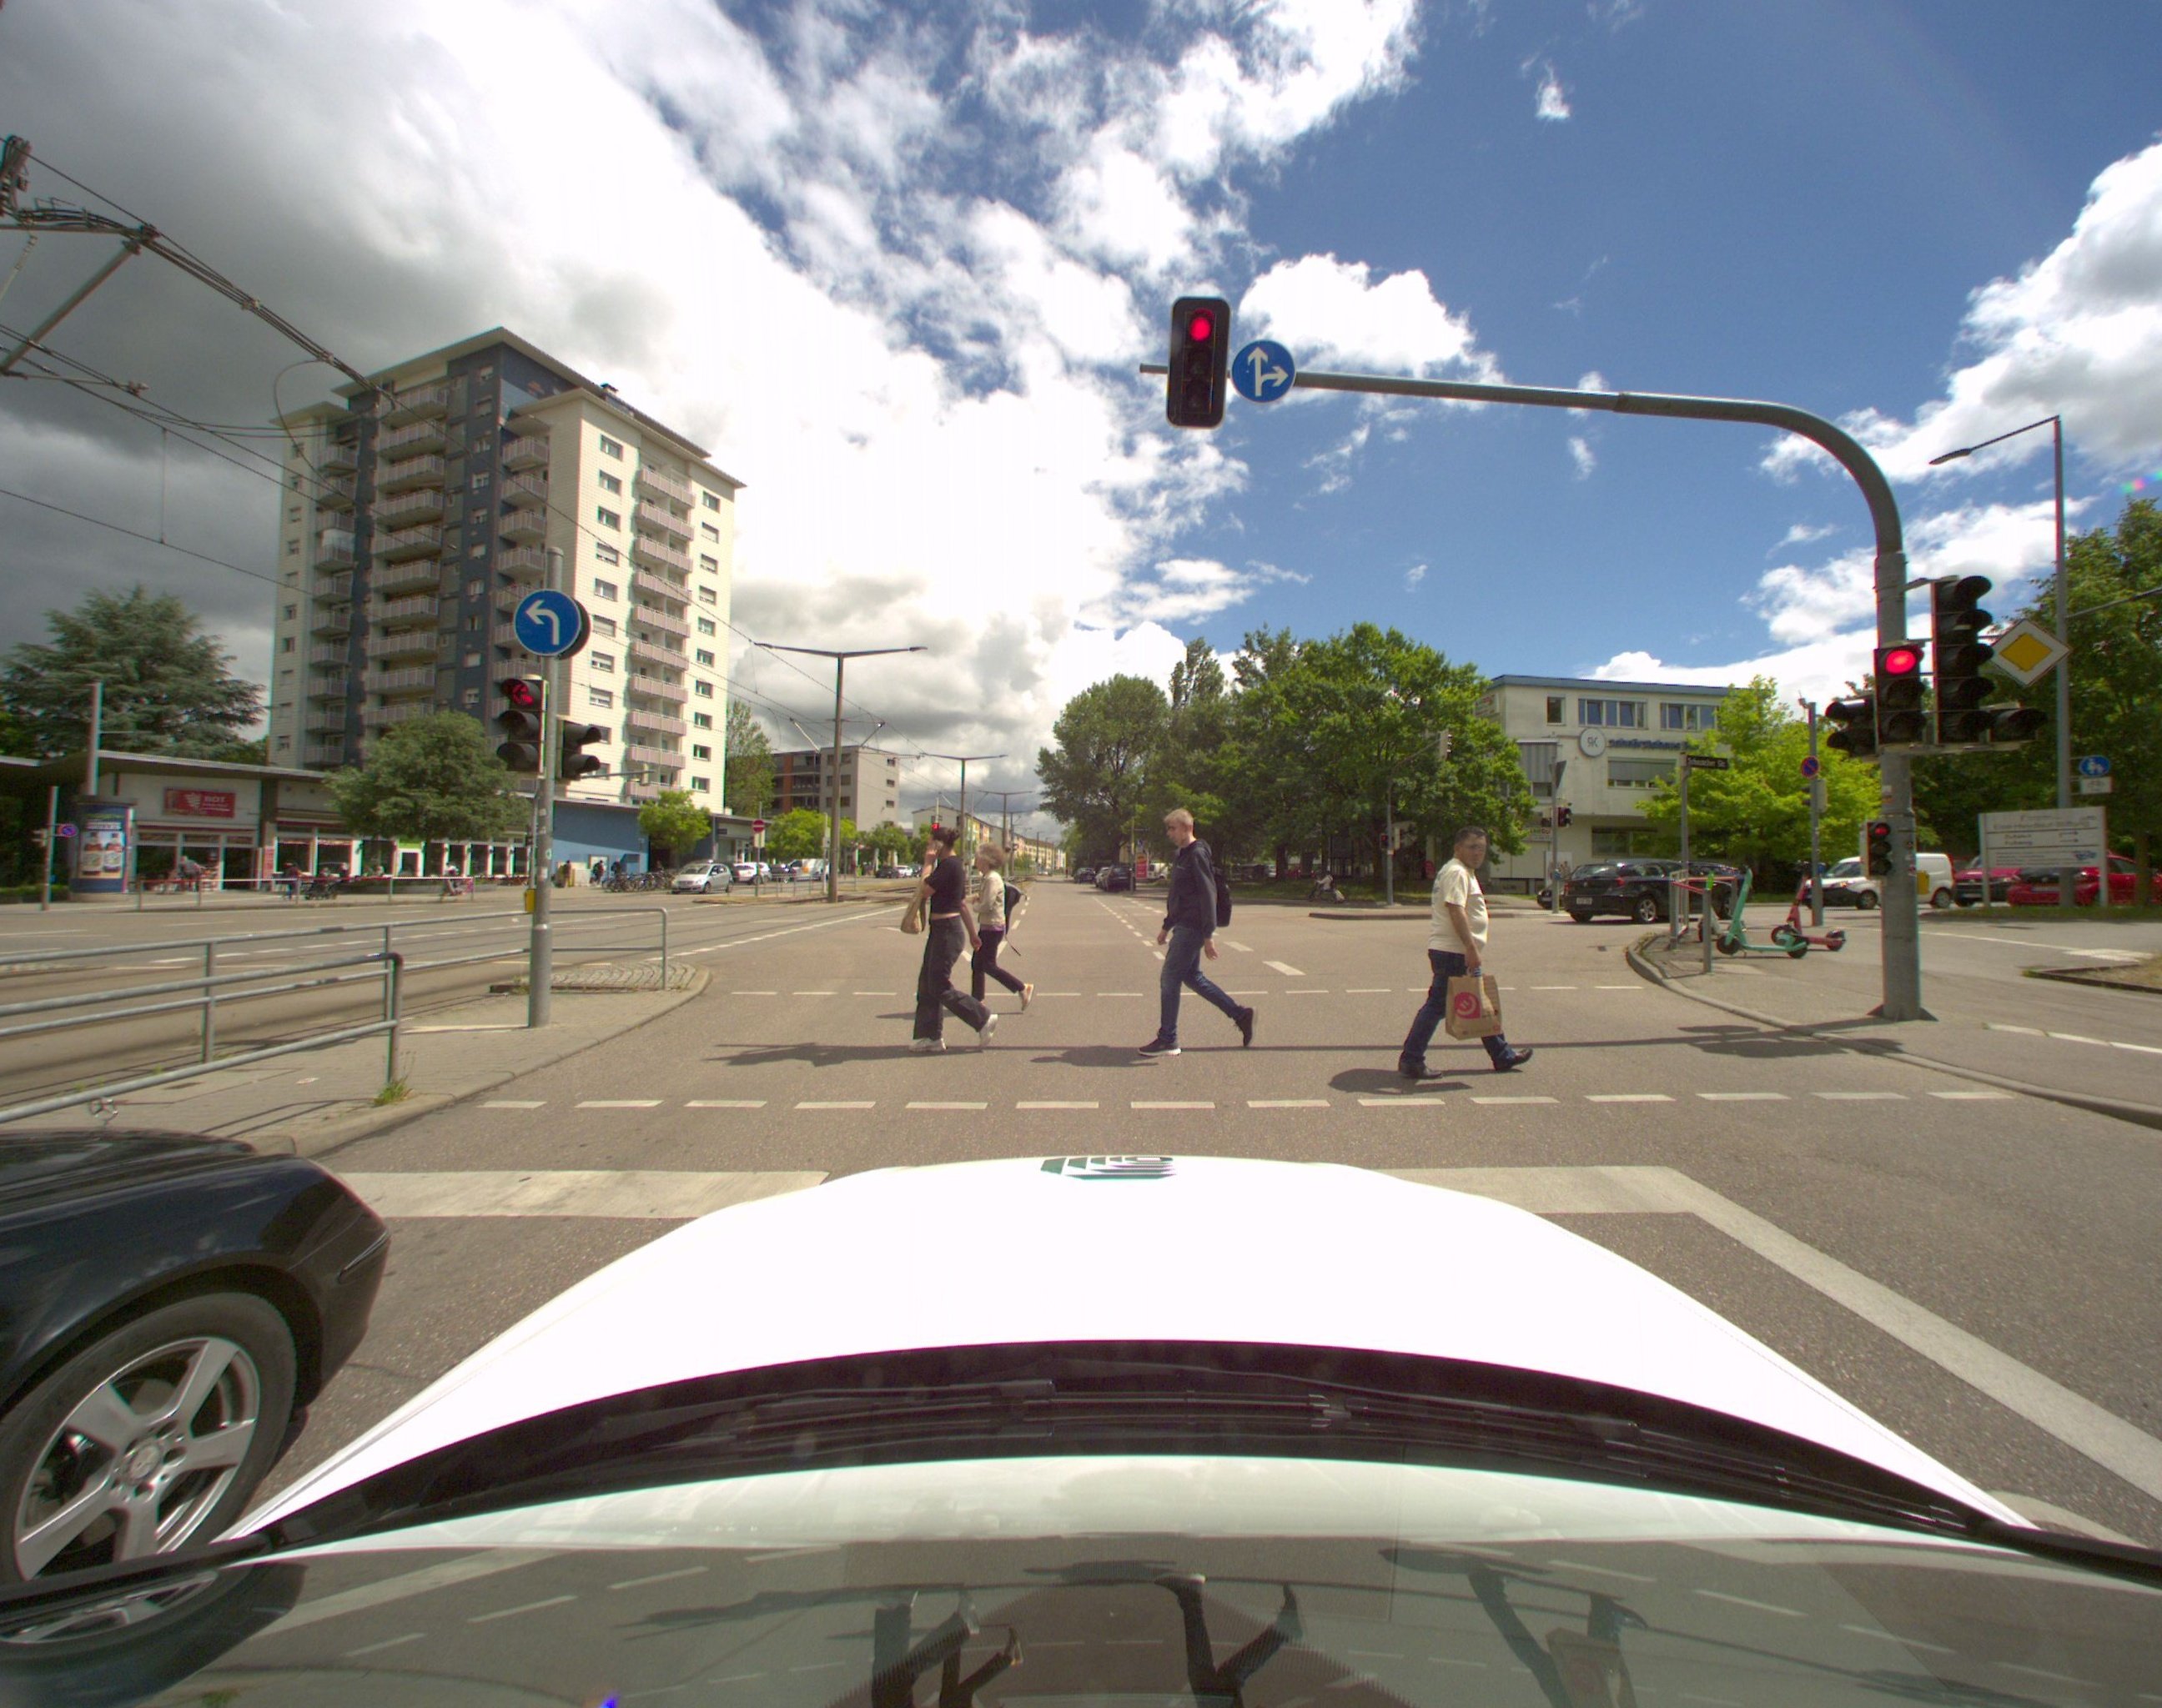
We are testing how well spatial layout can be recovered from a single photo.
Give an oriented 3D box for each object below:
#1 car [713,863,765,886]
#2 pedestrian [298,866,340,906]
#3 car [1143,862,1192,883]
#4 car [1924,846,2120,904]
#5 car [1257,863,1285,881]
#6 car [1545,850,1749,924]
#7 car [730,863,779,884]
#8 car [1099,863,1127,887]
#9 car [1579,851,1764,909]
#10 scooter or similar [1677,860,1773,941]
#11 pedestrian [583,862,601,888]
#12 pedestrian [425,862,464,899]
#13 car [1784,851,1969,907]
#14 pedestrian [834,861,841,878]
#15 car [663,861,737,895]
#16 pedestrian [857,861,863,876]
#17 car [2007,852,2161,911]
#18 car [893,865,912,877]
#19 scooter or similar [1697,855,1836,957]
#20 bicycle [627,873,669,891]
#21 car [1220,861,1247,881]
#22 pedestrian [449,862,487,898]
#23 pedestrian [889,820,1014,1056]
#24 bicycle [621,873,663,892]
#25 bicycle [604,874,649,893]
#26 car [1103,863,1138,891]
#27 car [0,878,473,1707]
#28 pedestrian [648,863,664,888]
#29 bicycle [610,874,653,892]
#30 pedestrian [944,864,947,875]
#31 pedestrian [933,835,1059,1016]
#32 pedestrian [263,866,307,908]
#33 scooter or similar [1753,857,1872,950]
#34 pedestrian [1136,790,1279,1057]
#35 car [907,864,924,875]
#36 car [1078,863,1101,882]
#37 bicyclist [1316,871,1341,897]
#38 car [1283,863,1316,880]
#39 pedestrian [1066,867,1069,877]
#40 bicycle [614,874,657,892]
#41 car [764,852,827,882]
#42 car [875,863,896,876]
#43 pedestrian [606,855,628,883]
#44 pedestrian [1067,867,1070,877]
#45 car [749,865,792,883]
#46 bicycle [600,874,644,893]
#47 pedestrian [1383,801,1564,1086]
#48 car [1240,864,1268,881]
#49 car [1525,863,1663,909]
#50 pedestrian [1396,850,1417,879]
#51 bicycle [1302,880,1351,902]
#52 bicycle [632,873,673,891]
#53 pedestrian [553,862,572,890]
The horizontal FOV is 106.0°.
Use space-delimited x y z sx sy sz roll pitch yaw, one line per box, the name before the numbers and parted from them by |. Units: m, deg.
car | -24.644 1.416 58.634 4.165 1.570 1.973 -1 -1 45
pedestrian | -31.722 1.321 33.922 0.957 1.659 1.002 -1 -1 27
car | 7.758 1.626 73.291 4.001 1.823 1.766 0 -1 -21
car | 31.658 0.697 27.458 4.800 1.864 1.994 0 -2 -8
car | 17.716 1.637 76.236 1.626 1.595 3.998 0 0 -1
car | 12.714 0.725 18.333 4.000 1.487 1.746 0 -3 -20
car | -24.865 1.433 61.940 4.165 1.538 1.973 -1 -1 45
car | 2.322 1.553 59.337 1.986 1.684 4.001 0 -1 2
car | 18.436 0.790 25.548 4.551 1.717 1.996 0 0 -5
scooter or similar | 9.743 0.687 12.319 1.360 1.156 0.540 1 0 -23
pedestrian | -30.044 1.282 50.066 0.767 1.615 0.695 0 -1 -12
pedestrian | -29.052 1.220 37.169 0.936 1.659 1.105 -1 -1 25
car | 26.049 0.781 26.754 4.555 1.717 1.995 0 0 -8
pedestrian | -23.858 1.520 79.666 0.545 1.716 0.405 0 -1 1
car | -19.819 1.212 42.573 1.930 1.693 3.874 0 0 2
pedestrian | -24.005 1.567 88.584 0.547 1.716 0.667 0 -1 -8
car | 25.933 0.674 20.892 3.188 1.441 1.540 0 0 -13
car | -21.678 2.049 99.181 1.758 1.395 3.993 0 0 -5
scooter or similar | 8.841 0.655 10.530 1.336 1.277 0.463 0 0 8
bicycle | -23.328 1.517 43.886 1.943 0.935 0.494 0 -1 -5
car | 13.895 1.551 74.531 1.626 1.811 4.030 0 0 -1
pedestrian | -29.008 1.213 38.538 0.936 1.659 1.105 -1 -1 25
pedestrian | -1.037 0.628 6.557 0.933 1.765 0.769 0 0 -10
bicycle | -23.361 1.511 43.330 1.943 0.935 0.494 0 -1 -5
bicycle | -23.326 1.495 41.801 1.943 0.935 0.494 0 -1 -5
car | 2.481 1.448 51.882 2.144 1.684 4.001 0 -1 2
car | -2.761 0.793 0.178 1.721 1.461 4.546 0 0 2
pedestrian | -28.407 1.423 54.438 0.768 1.615 0.695 0 -1 -13
bicycle | -23.350 1.501 42.308 1.943 0.935 0.494 0 -1 -5
pedestrian | -21.093 2.448 126.609 0.451 1.637 0.480 0 -1 0
pedestrian | -0.821 0.676 8.089 0.945 1.674 0.874 -1 -1 16
pedestrian | -32.104 1.314 32.854 0.957 1.659 1.002 -1 -1 27
scooter or similar | 10.228 0.676 11.406 1.225 1.240 0.555 2 0 -7
pedestrian | 0.958 0.507 6.412 0.963 1.942 0.896 0 0 -3
car | -21.461 2.024 105.717 1.758 1.395 3.993 0 0 -5
car | 0.803 1.694 74.698 1.986 1.684 4.002 0 0 2
bicyclist | 10.132 1.208 33.319 0.798 1.022 0.628 1 -1 -40
car | 20.560 1.627 76.678 1.728 1.595 3.992 0 0 -5
pedestrian | -2.134 2.907 133.249 0.477 1.637 0.454 0 -1 1
bicycle | -23.374 1.506 42.784 1.943 0.935 0.494 0 -1 -5
car | -24.695 1.078 70.206 2.848 2.478 6.641 0 -1 -42
car | -22.011 1.709 91.723 1.758 1.395 3.993 0 0 -5
pedestrian | -32.299 1.010 56.690 0.863 1.917 1.213 0 0 -3
pedestrian | -2.068 2.867 133.257 0.334 1.627 0.356 0 -1 -16
car | -24.907 1.573 65.208 1.800 1.420 4.166 0 -1 -43
bicycle | -23.290 1.490 41.335 1.943 0.935 0.494 0 -1 -5
pedestrian | 2.636 0.567 5.553 0.866 1.808 0.741 0 0 -2
car | 15.917 1.684 74.981 1.626 1.573 4.030 0 0 -1
car | 18.595 1.130 29.597 3.906 1.556 1.994 0 0 -9
pedestrian | 18.355 0.602 45.946 0.769 1.643 0.903 0 -1 -13
bicycle | 10.054 1.504 33.438 0.798 0.819 1.787 1 -1 -39
bicycle | -23.353 1.522 44.368 1.943 0.935 0.494 0 -1 -5
pedestrian | -30.299 1.266 47.595 0.768 1.615 0.694 0 -1 -16
